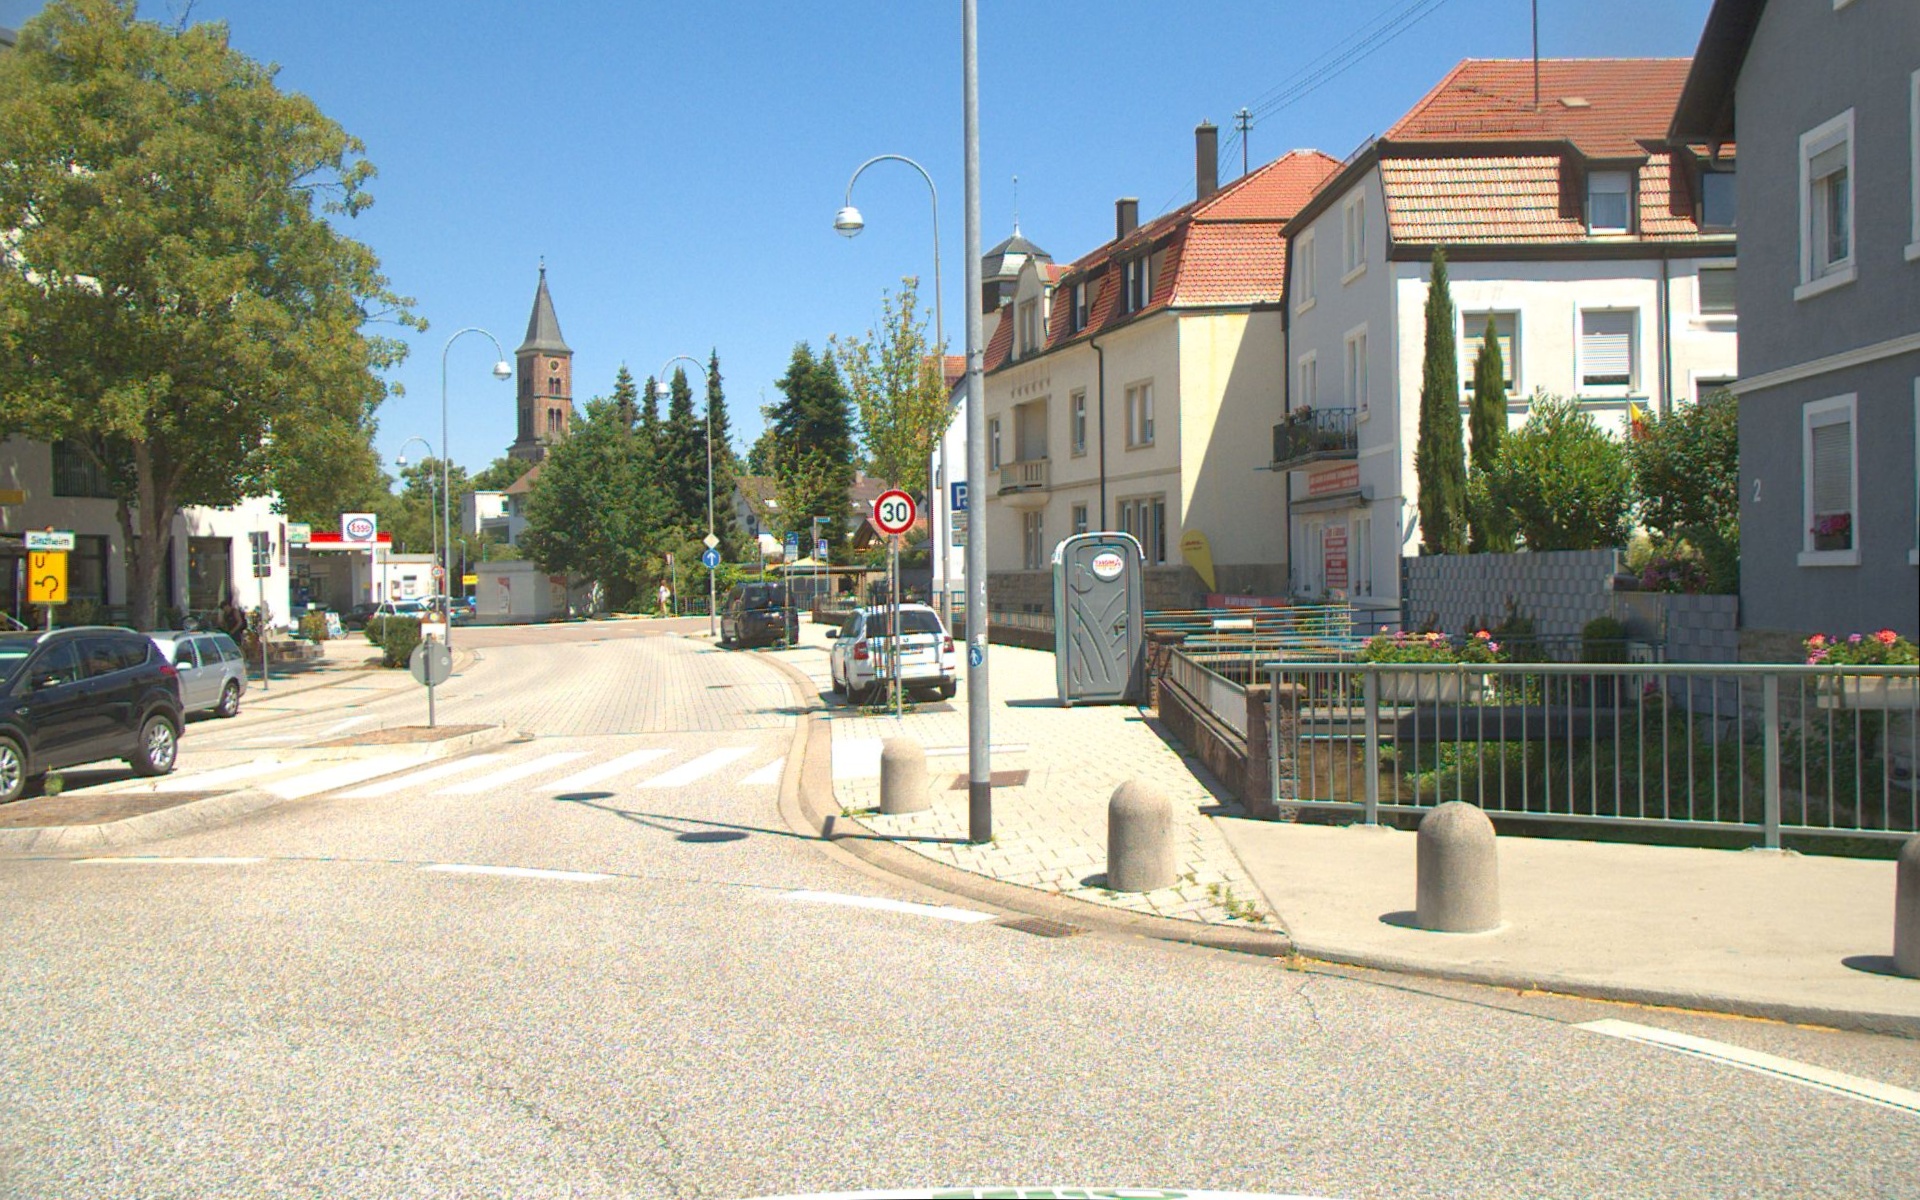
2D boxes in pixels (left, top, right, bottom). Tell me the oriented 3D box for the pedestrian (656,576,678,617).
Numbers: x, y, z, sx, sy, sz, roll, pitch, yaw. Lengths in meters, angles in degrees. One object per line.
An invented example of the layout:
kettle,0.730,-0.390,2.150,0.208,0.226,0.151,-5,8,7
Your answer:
pedestrian,-13.447,-0.145,75.949,0.540,1.845,0.840,2,3,43

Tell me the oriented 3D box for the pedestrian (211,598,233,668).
pedestrian,-18.041,0.803,40.440,0.398,1.657,0.648,0,2,-17

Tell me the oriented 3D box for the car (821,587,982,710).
car,-1.039,0.702,26.713,1.958,1.611,4.278,-6,1,-9

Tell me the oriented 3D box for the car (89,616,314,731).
car,-12.257,1.128,27.009,1.758,1.617,4.001,0,1,1

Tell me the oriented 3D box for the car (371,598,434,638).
car,-24.577,0.767,72.842,1.813,1.601,3.958,-3,2,-31

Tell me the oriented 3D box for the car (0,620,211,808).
car,-10.111,1.164,17.466,1.951,1.717,4.530,-2,0,5

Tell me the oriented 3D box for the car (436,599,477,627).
car,-27.273,0.685,89.529,1.521,1.402,3.967,-2,1,-25

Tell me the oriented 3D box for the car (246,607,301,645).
car,-30.916,1.145,74.397,1.811,1.601,3.961,-2,1,-29

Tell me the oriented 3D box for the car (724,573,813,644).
car,-5.773,0.208,49.473,1.961,1.897,4.269,0,3,-16
